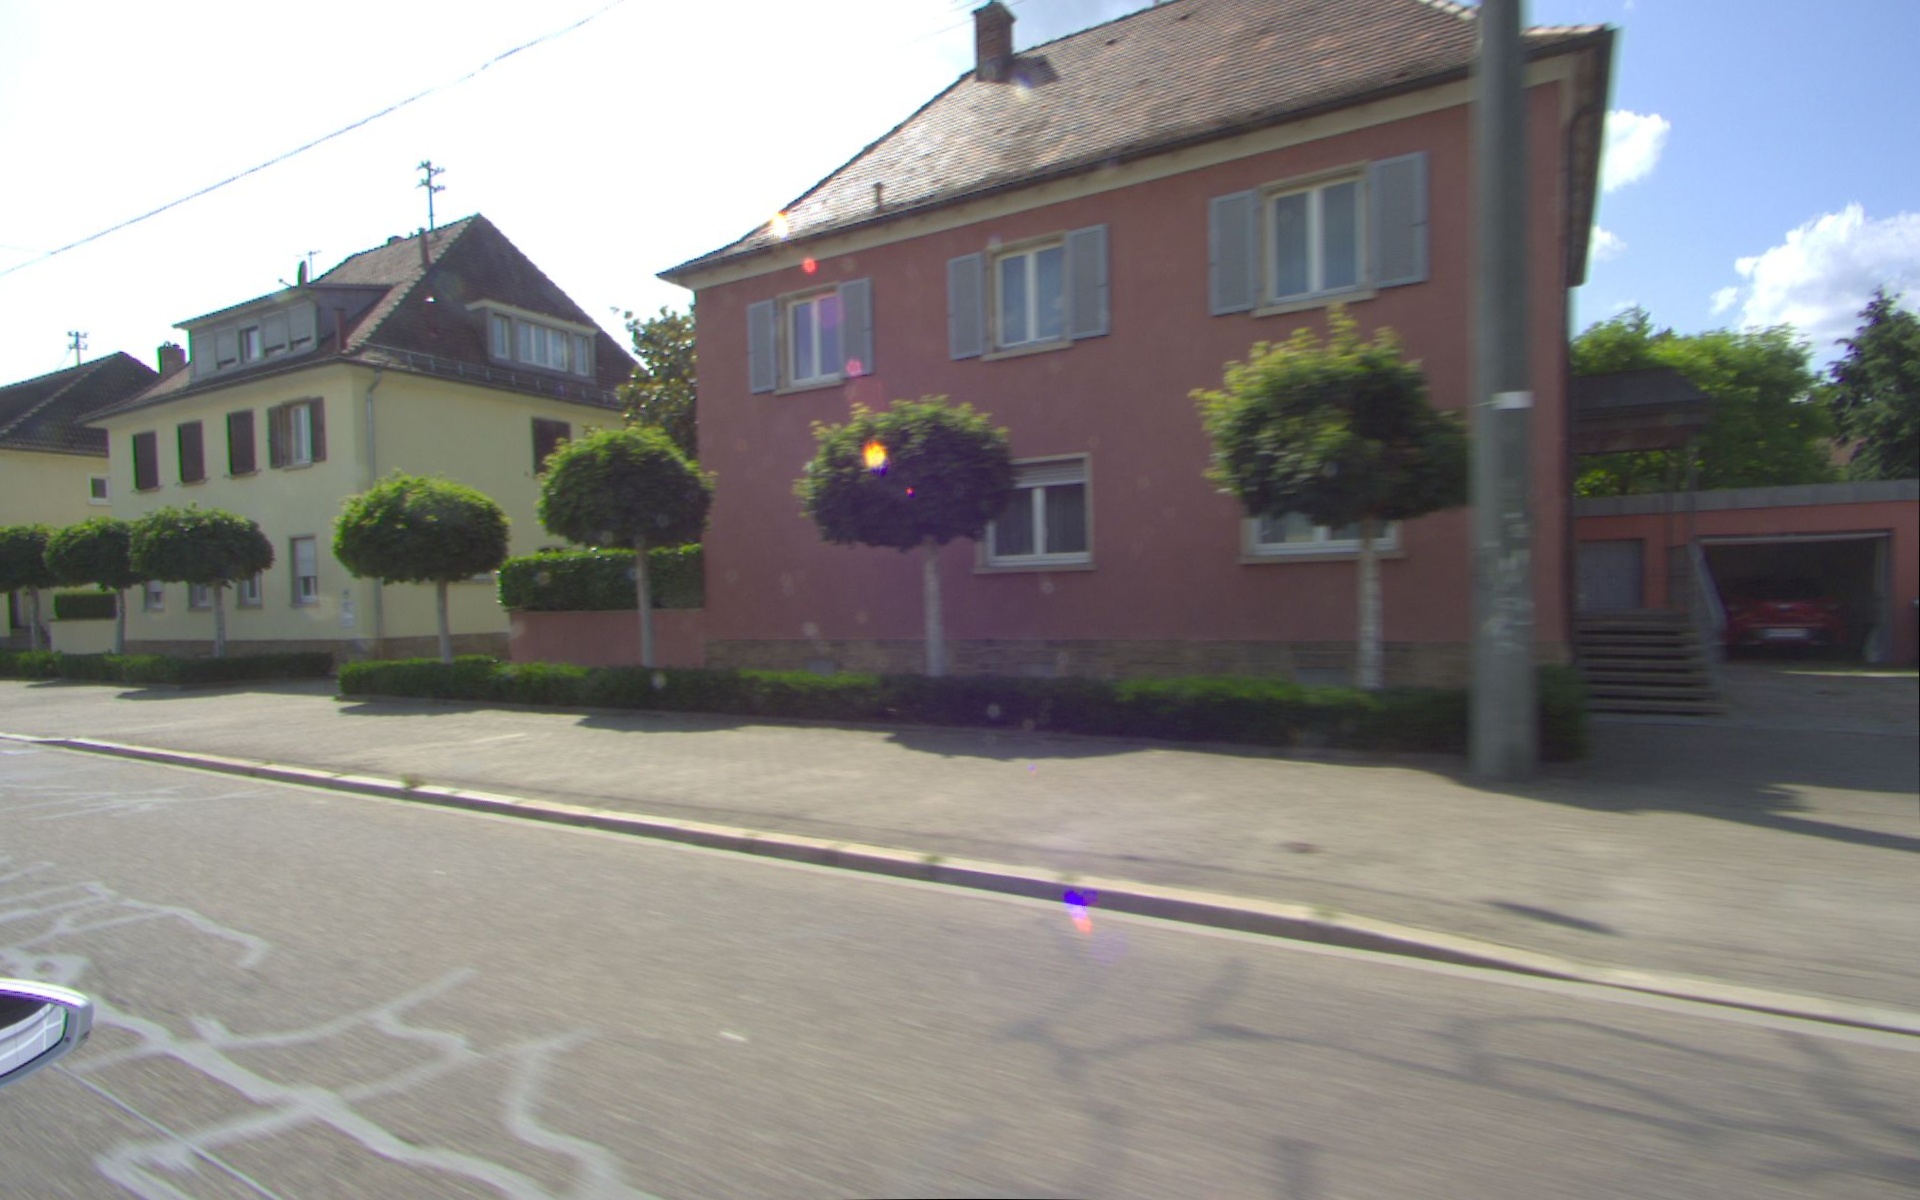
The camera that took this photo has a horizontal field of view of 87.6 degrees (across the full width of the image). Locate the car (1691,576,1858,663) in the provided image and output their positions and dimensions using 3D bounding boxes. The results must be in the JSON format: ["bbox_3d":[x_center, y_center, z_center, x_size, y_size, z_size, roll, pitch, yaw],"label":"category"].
[{"bbox_3d":[14.439,0.282,17.947,1.777,1.372,3.535,0,1,30],"label":"car"}]
